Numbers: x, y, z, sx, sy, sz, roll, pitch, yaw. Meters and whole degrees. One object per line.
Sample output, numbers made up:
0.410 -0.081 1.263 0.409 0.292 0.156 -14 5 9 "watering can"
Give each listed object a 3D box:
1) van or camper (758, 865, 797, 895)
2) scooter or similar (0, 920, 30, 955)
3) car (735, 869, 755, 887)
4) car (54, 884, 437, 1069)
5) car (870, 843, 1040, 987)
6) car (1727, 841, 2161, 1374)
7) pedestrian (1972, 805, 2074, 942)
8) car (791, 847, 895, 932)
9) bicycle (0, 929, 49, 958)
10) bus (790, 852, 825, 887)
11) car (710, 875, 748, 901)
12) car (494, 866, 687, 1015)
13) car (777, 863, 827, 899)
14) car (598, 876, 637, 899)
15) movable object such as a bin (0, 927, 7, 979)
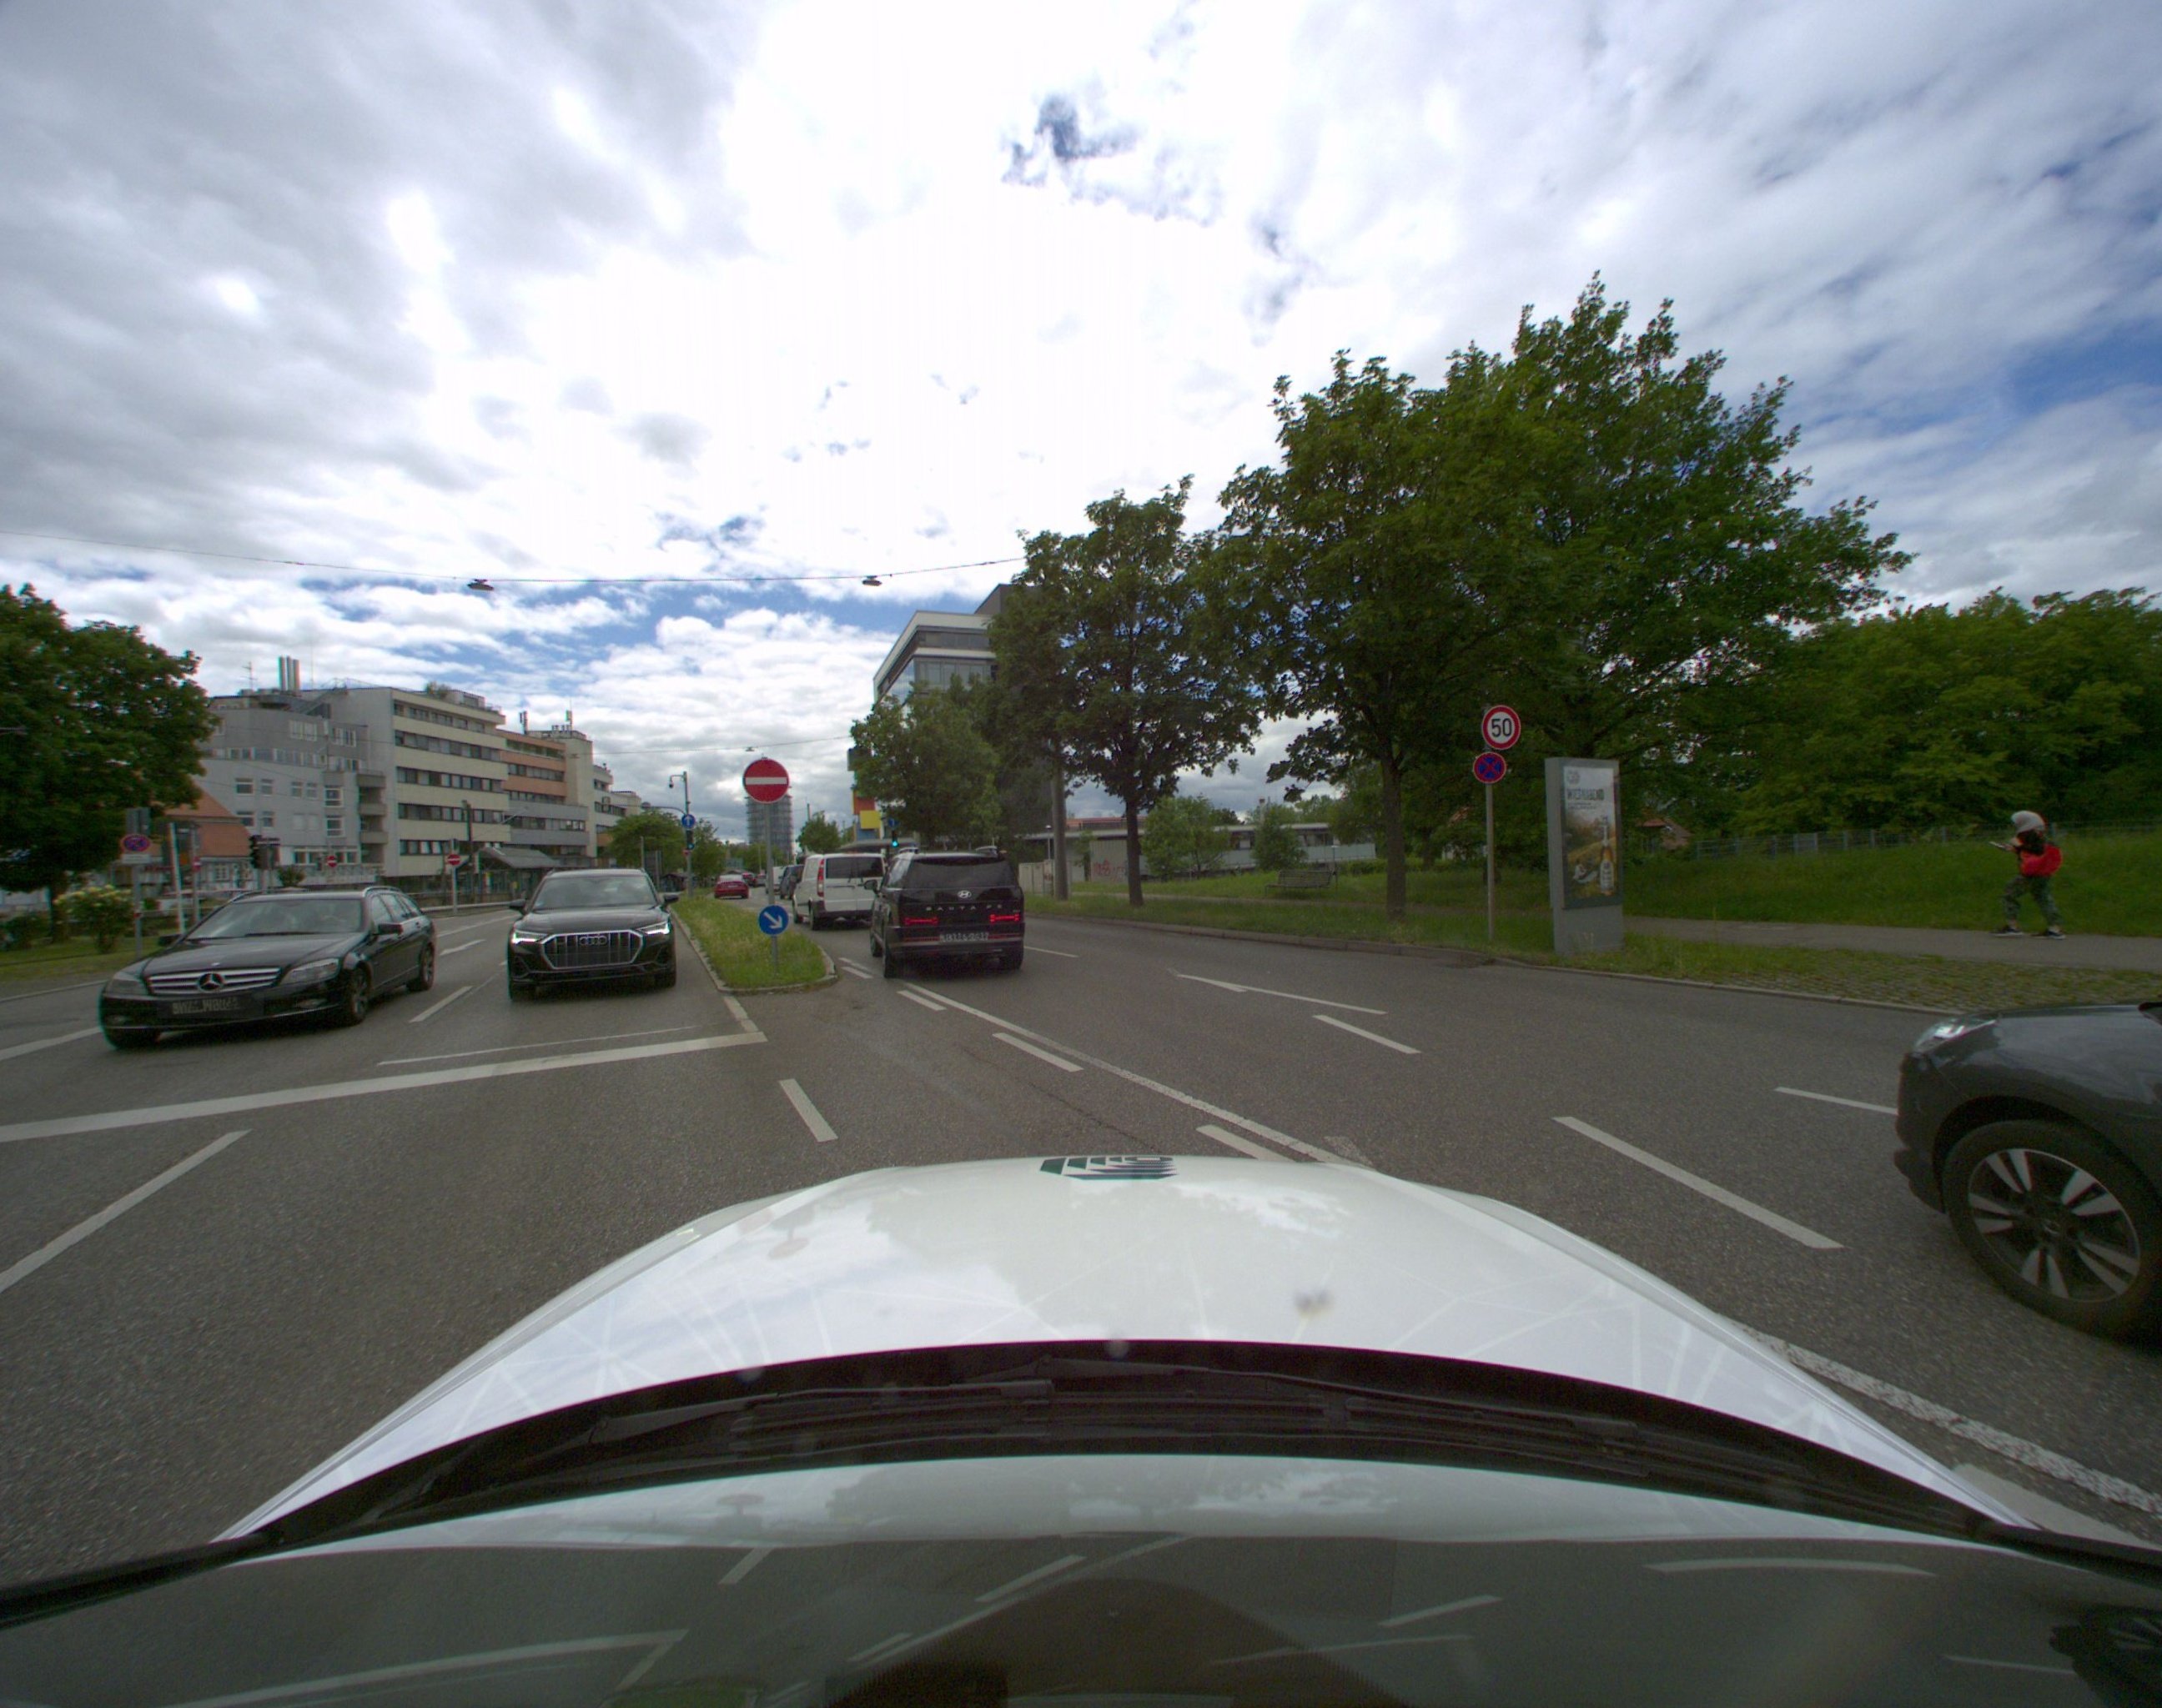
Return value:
-21.567 1.831 57.790 2.005 1.917 4.369 -2 1 -28 "van or camper"
-34.119 2.641 25.716 0.490 1.045 1.170 -1 0 -14 "scooter or similar"
-37.364 2.660 90.647 1.909 1.859 4.676 -1 0 -21 "car"
-9.114 1.151 9.428 1.793 1.425 4.356 -1 0 -28 "car"
-2.101 0.763 12.353 1.907 1.731 4.420 -1 0 -17 "car"
3.786 0.682 1.738 1.694 1.461 4.064 -1 0 2 "car"
11.753 0.233 10.168 0.544 1.603 0.696 -7 3 -29 "pedestrian"
-6.398 0.860 21.524 1.912 1.969 4.596 -1 0 -26 "car"
-32.551 2.745 24.840 1.265 0.804 0.421 -3 -1 -25 "bicycle"
-27.354 1.587 81.216 2.977 3.116 9.181 -4 0 -20 "bus"
-21.205 2.001 48.958 1.883 1.418 4.404 -1 0 -26 "car"
-6.711 0.988 11.360 1.900 1.564 4.354 -1 0 -29 "car"
-15.352 1.432 44.704 1.913 1.859 4.666 -1 0 -28 "car"
-33.093 2.350 58.252 1.806 1.455 4.578 -1 0 -22 "car"
-21.643 1.981 15.844 0.567 1.012 0.831 -2 -1 -27 "movable object such as a bin"
